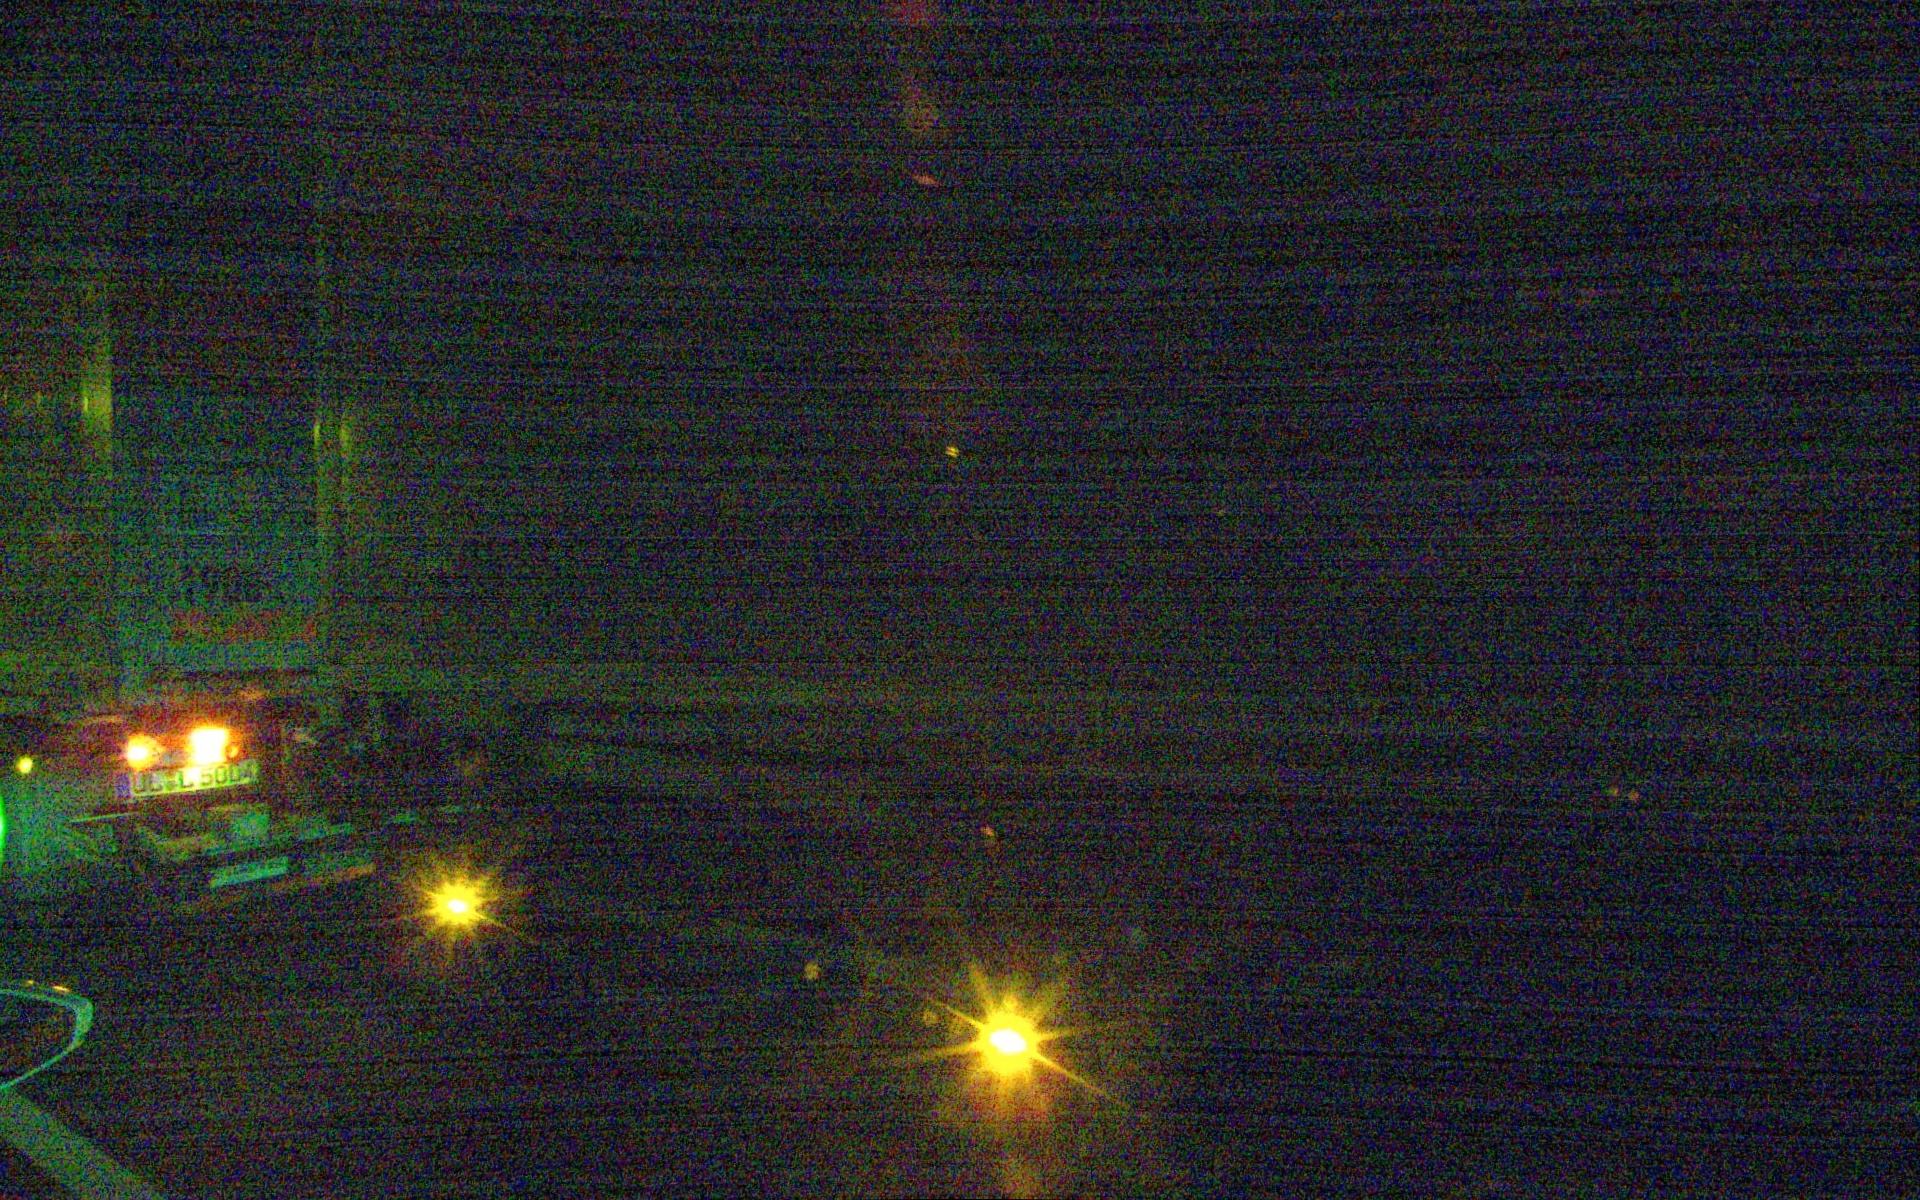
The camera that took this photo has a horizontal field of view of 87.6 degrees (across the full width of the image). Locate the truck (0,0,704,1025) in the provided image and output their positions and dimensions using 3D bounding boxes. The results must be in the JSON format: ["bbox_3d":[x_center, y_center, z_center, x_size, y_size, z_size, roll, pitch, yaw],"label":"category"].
[{"bbox_3d":[-6.443,-0.364,7.454,9.767,3.965,2.883,-1,0,32],"label":"truck"}]

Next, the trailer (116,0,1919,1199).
[{"bbox_3d":[1.429,-0.490,2.429,8.821,3.909,2.869,-1,-1,33],"label":"trailer"}]
